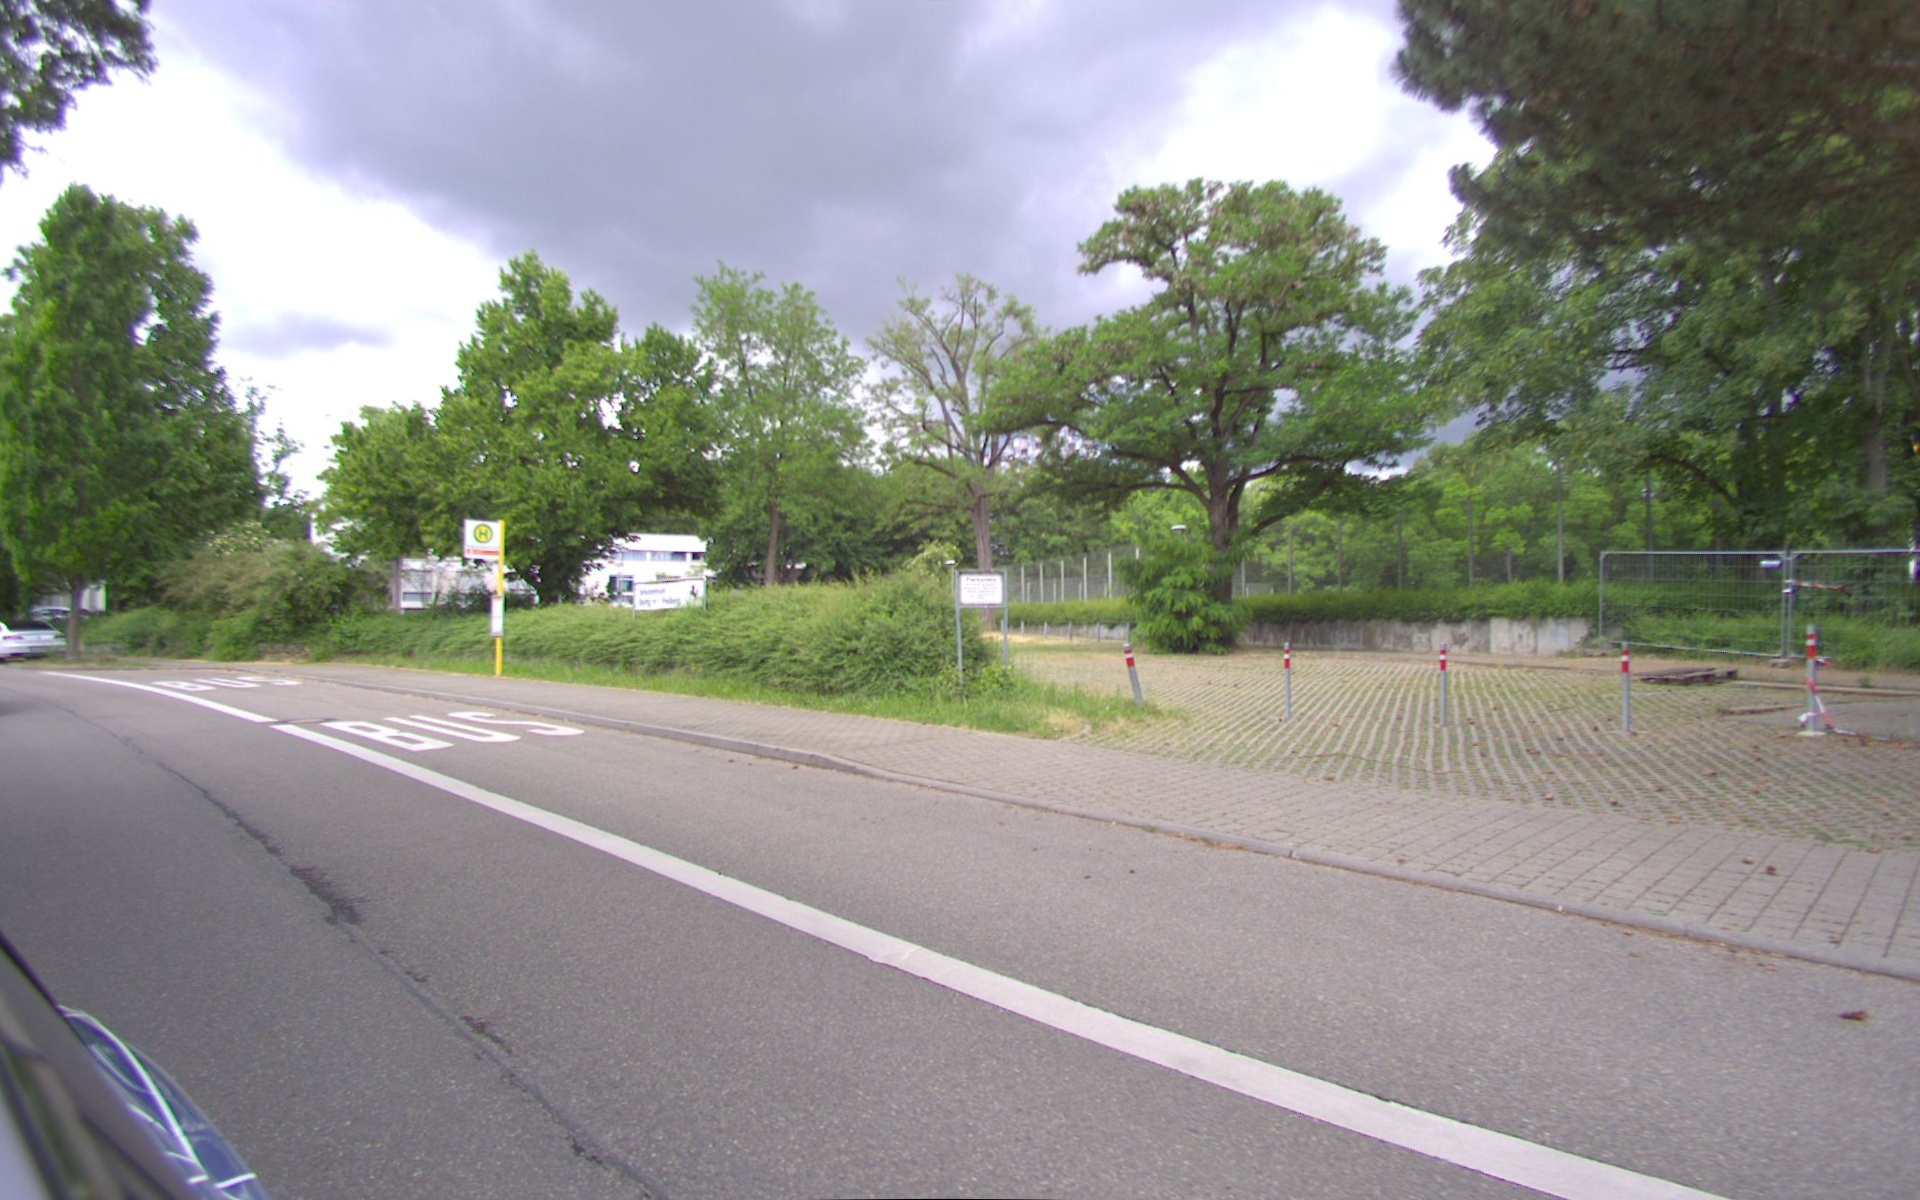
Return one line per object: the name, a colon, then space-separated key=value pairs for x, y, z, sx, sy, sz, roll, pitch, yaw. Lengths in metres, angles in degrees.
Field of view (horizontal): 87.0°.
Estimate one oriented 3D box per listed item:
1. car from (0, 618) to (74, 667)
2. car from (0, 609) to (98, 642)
car: x=-31.742 y=1.385 z=33.949 sx=4.621 sy=1.503 sz=1.833 roll=-1 pitch=-1 yaw=33
car: x=-49.119 y=1.356 z=54.367 sx=3.748 sy=1.650 sz=2.006 roll=0 pitch=1 yaw=-14
